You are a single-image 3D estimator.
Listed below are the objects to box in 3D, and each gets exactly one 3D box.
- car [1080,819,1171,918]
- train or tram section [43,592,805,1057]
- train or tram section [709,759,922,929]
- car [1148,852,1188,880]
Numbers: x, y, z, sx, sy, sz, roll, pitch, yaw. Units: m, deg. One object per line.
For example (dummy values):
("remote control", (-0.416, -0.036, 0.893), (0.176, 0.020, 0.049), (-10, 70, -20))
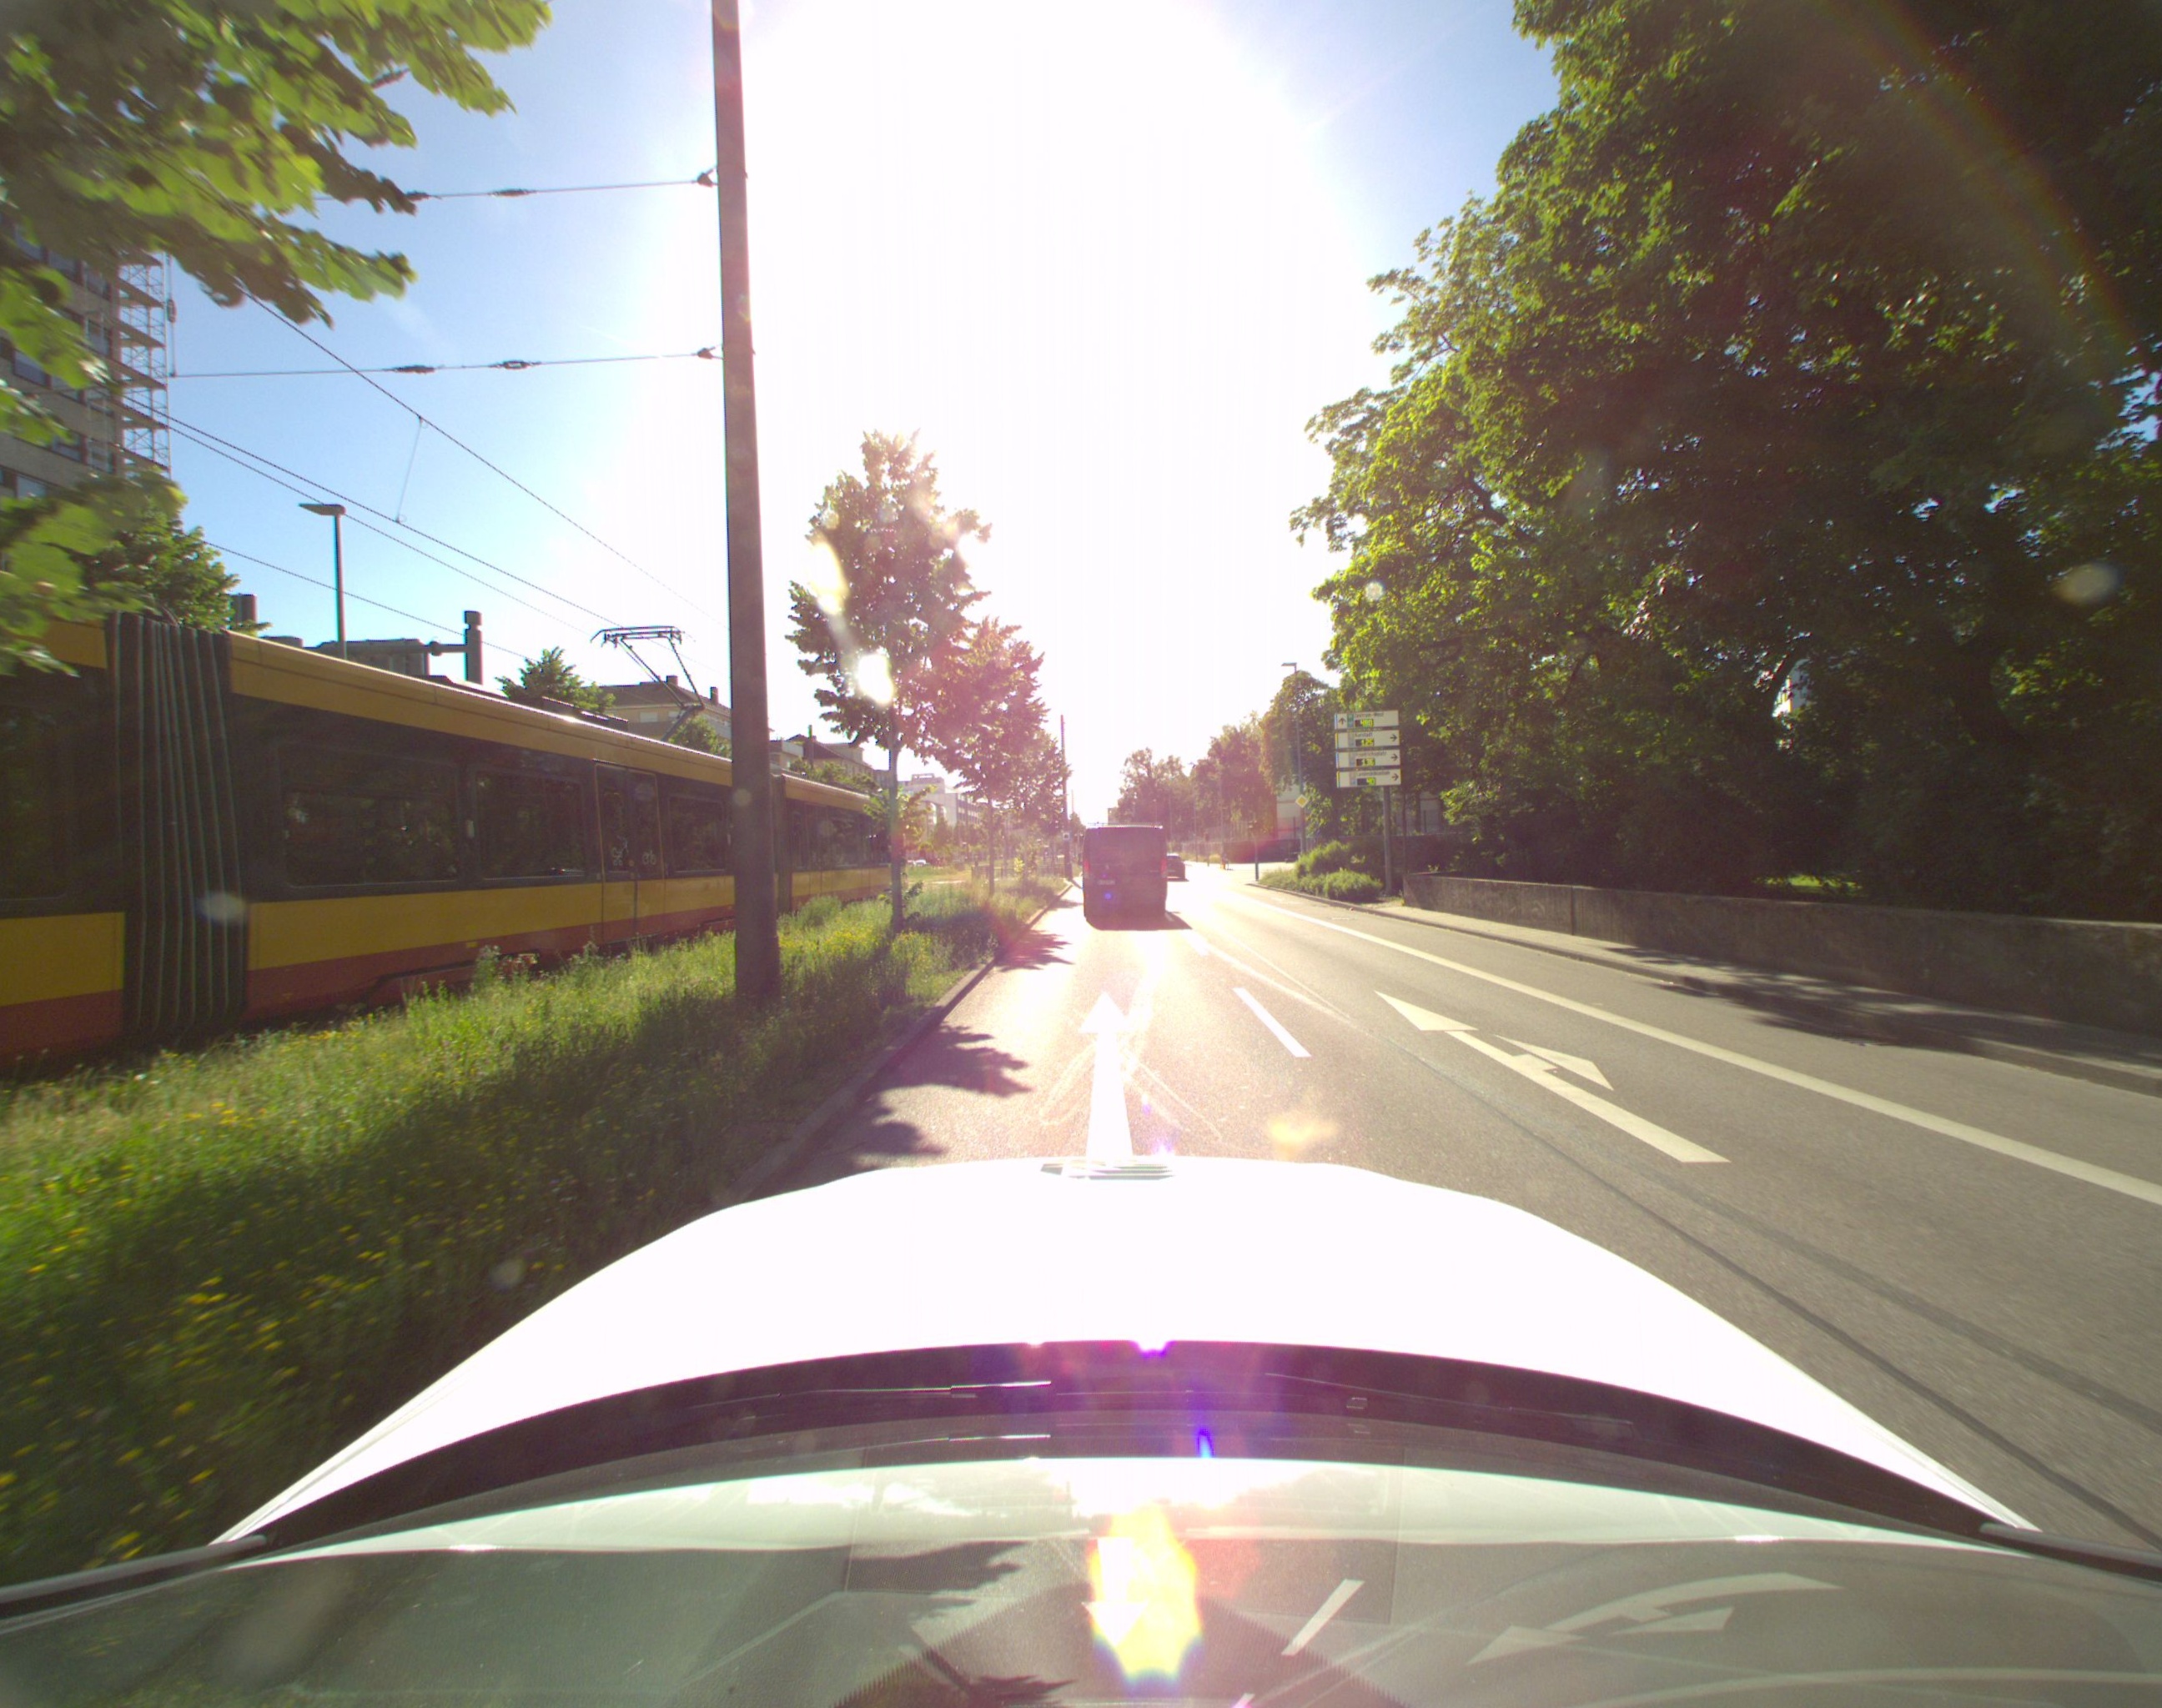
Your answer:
("car", (1.074, 0.337, 20.999), (2.075, 2.249, 4.000), (-1, 0, 1))
("train or tram section", (-7.147, -0.244, 12.140), (1.986, 3.669, 11.318), (-1, 0, 1))
("train or tram section", (-6.936, -0.233, 23.590), (1.986, 3.669, 11.687), (-1, 0, 2))
("car", (4.769, 0.636, 45.158), (1.758, 1.462, 3.999), (-1, 0, -1))
